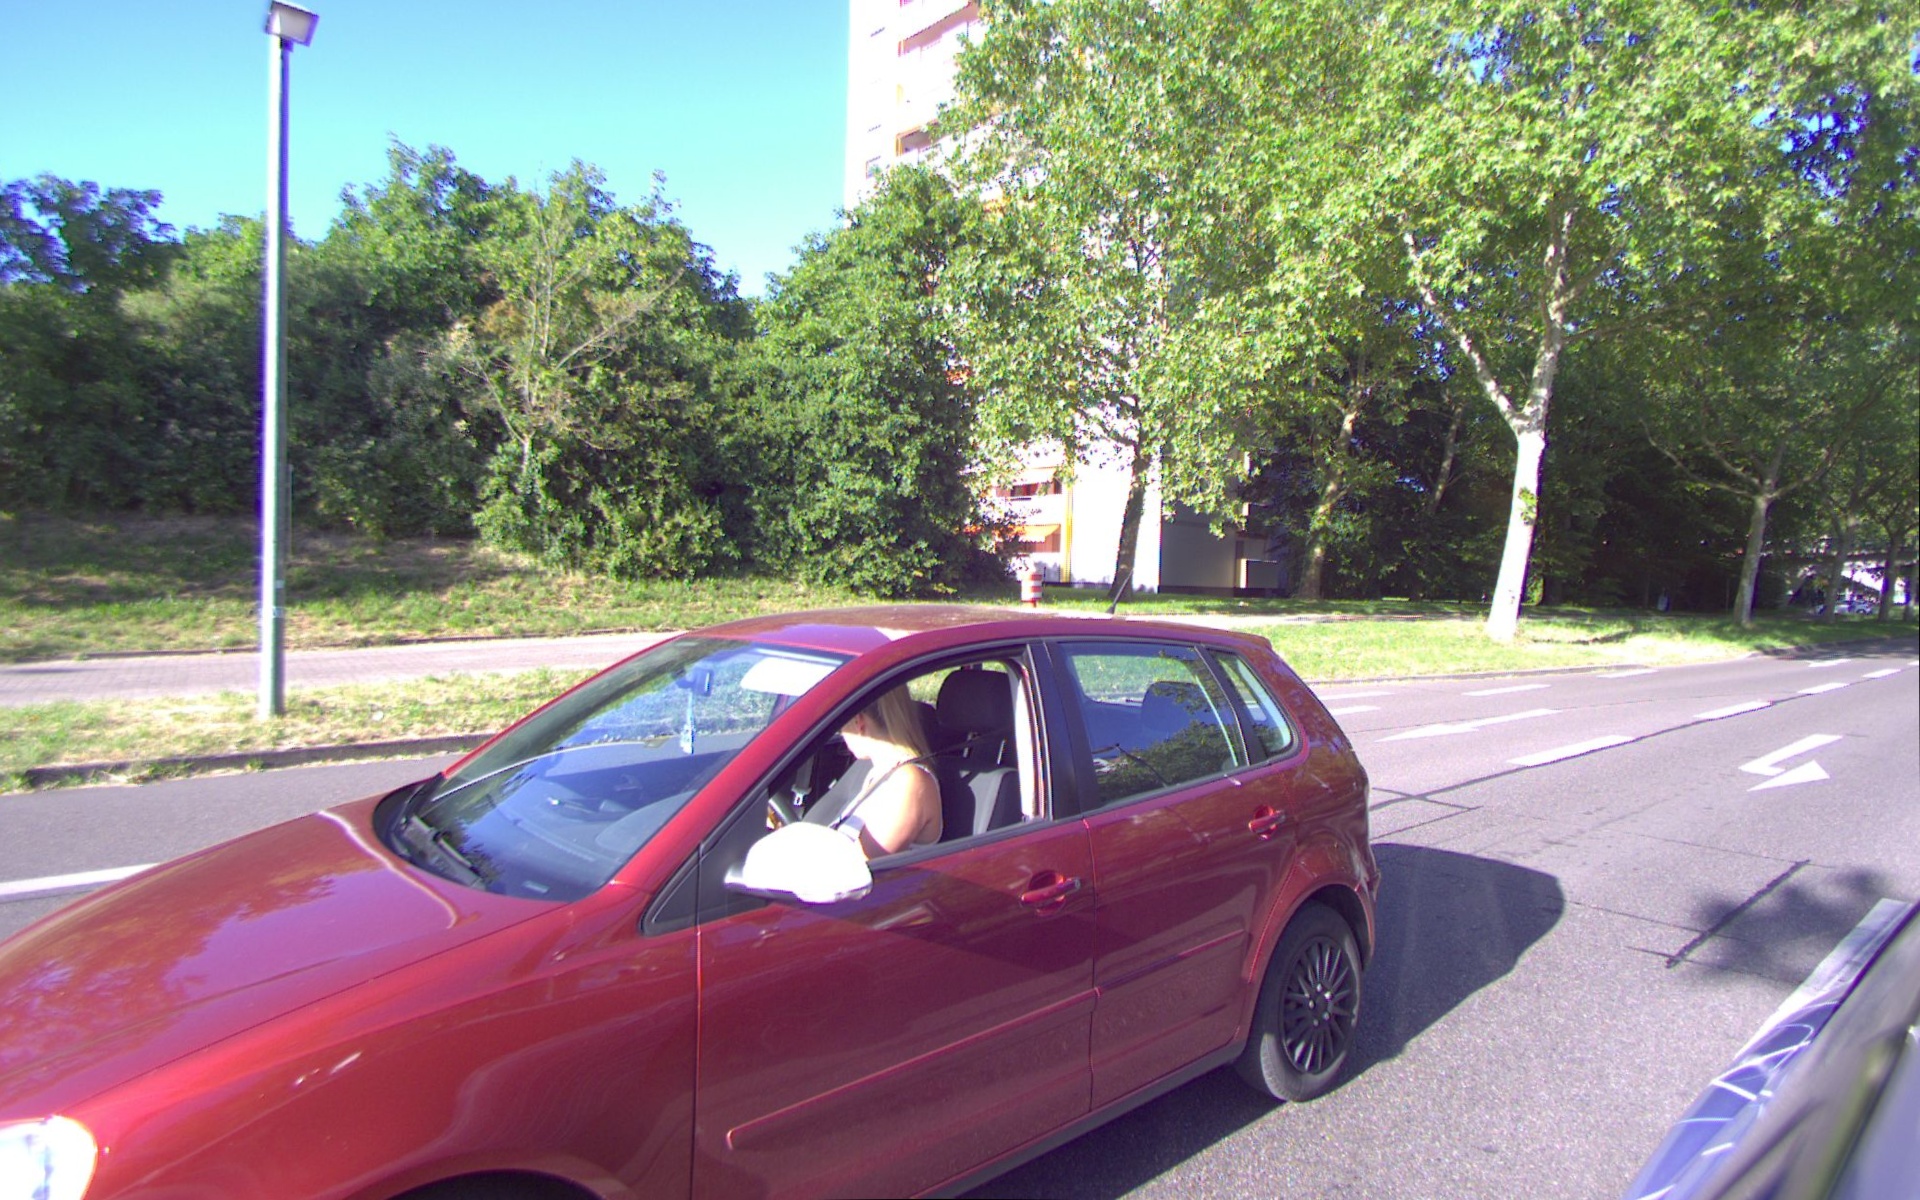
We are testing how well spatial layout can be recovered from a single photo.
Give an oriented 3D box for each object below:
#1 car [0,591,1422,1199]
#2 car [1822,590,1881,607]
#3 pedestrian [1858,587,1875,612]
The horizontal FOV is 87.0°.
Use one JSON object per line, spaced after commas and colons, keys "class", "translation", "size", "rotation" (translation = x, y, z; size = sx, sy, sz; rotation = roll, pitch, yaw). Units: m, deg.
{"class": "car", "translation": [-0.417, 0.714, 2.793], "size": [3.694, 1.456, 1.645], "rotation": [-1, 1, -40]}
{"class": "car", "translation": [80.791, -0.163, 91.744], "size": [3.983, 1.493, 1.772], "rotation": [0, 0, 42]}
{"class": "pedestrian", "translation": [75.074, -0.065, 83.849], "size": [0.945, 2.039, 0.918], "rotation": [0, 0, -41]}
